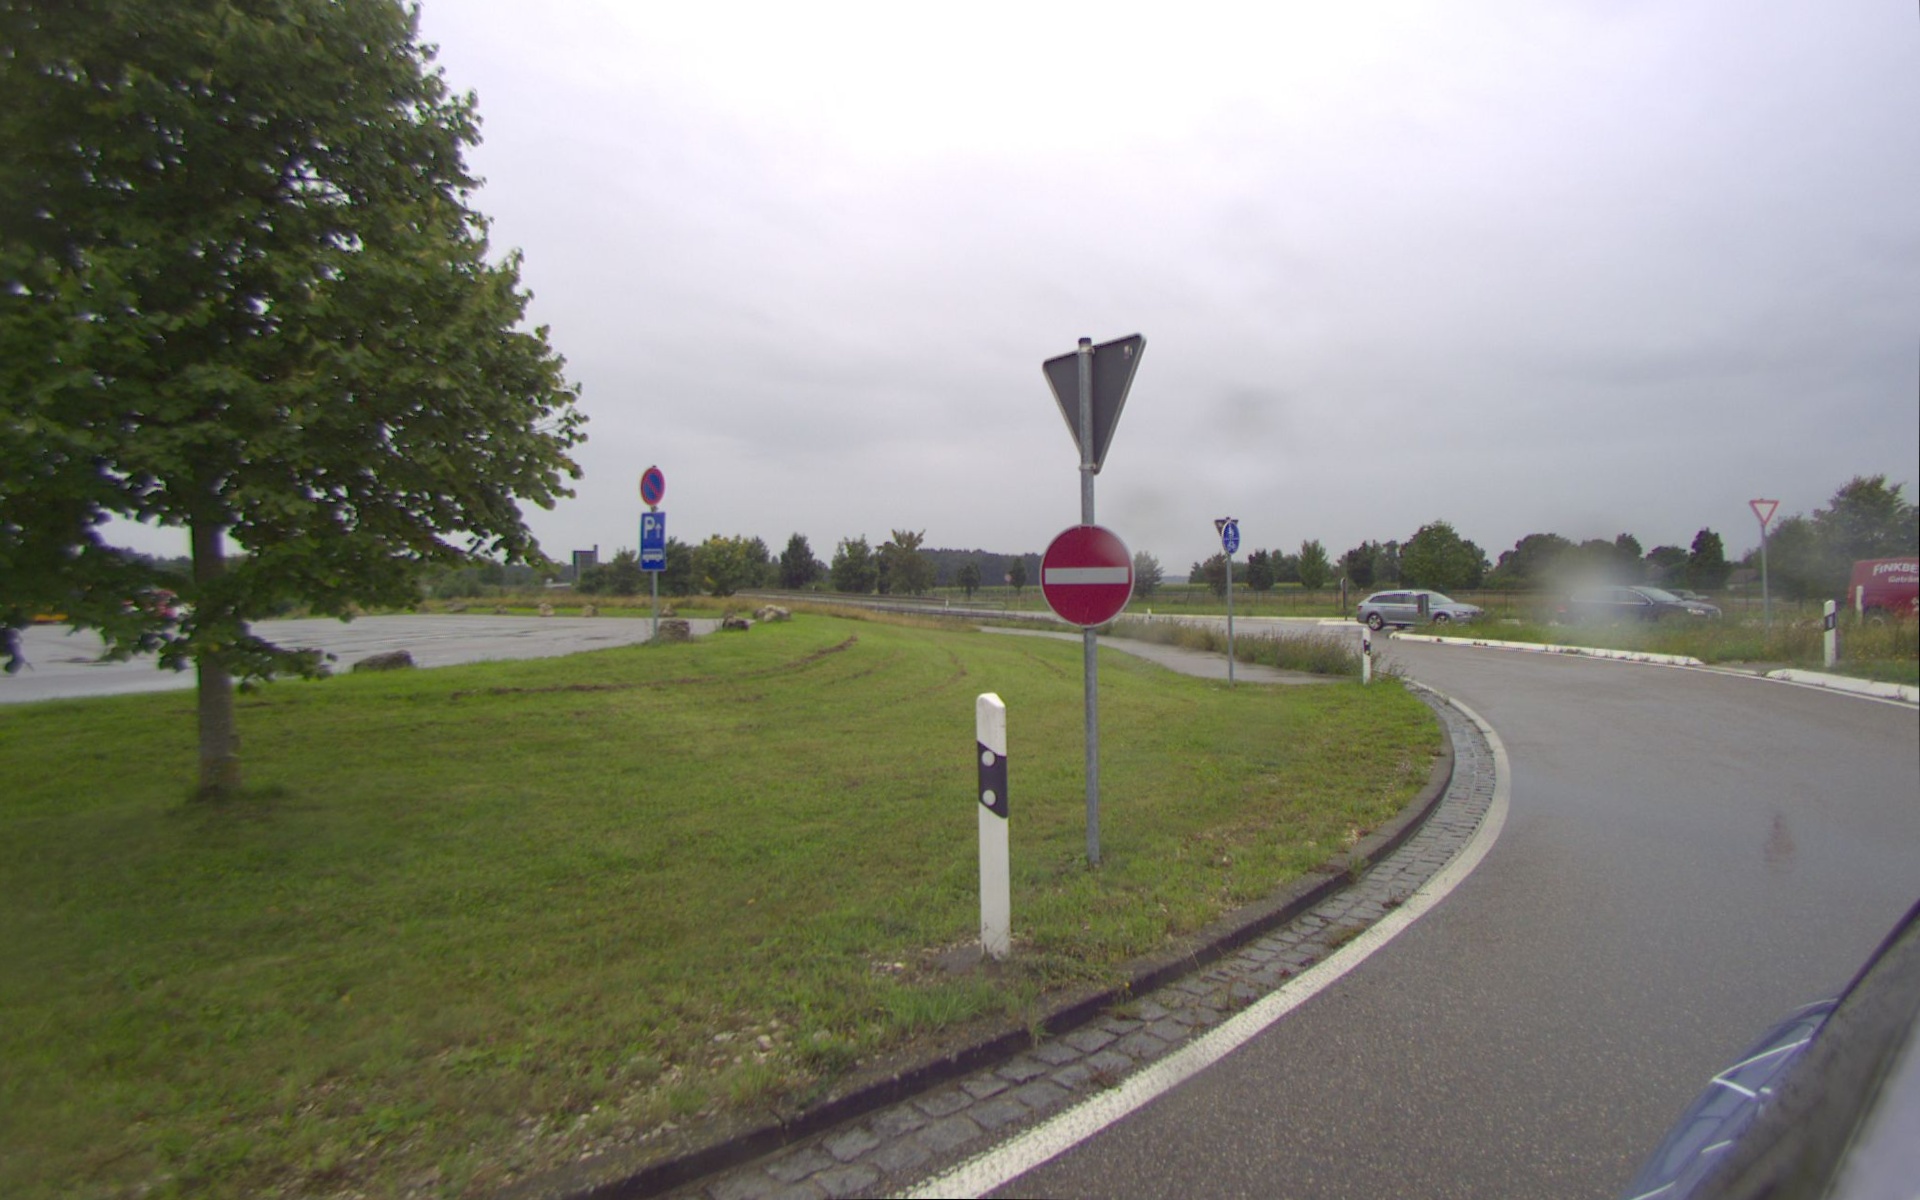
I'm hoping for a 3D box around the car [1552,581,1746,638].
[{"bbox_3d":[21.017,0.266,31.070,1.960,1.623,4.529,0,0,-29],"label":"car"}]

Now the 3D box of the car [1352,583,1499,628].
[{"bbox_3d":[17.217,0.174,37.697,1.961,1.500,4.666,-3,2,-31],"label":"car"}]

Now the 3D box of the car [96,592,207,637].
[{"bbox_3d":[-34.849,0.609,43.739,1.792,1.799,4.003,-2,0,-4],"label":"car"}]

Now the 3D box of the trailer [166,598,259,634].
[{"bbox_3d":[-35.172,0.707,47.747,1.667,1.552,4.004,-2,1,-5],"label":"trailer"}]

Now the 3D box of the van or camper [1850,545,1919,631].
[{"bbox_3d":[24.143,-0.322,23.485,1.958,2.038,4.857,-3,1,-19],"label":"van or camper"}]
